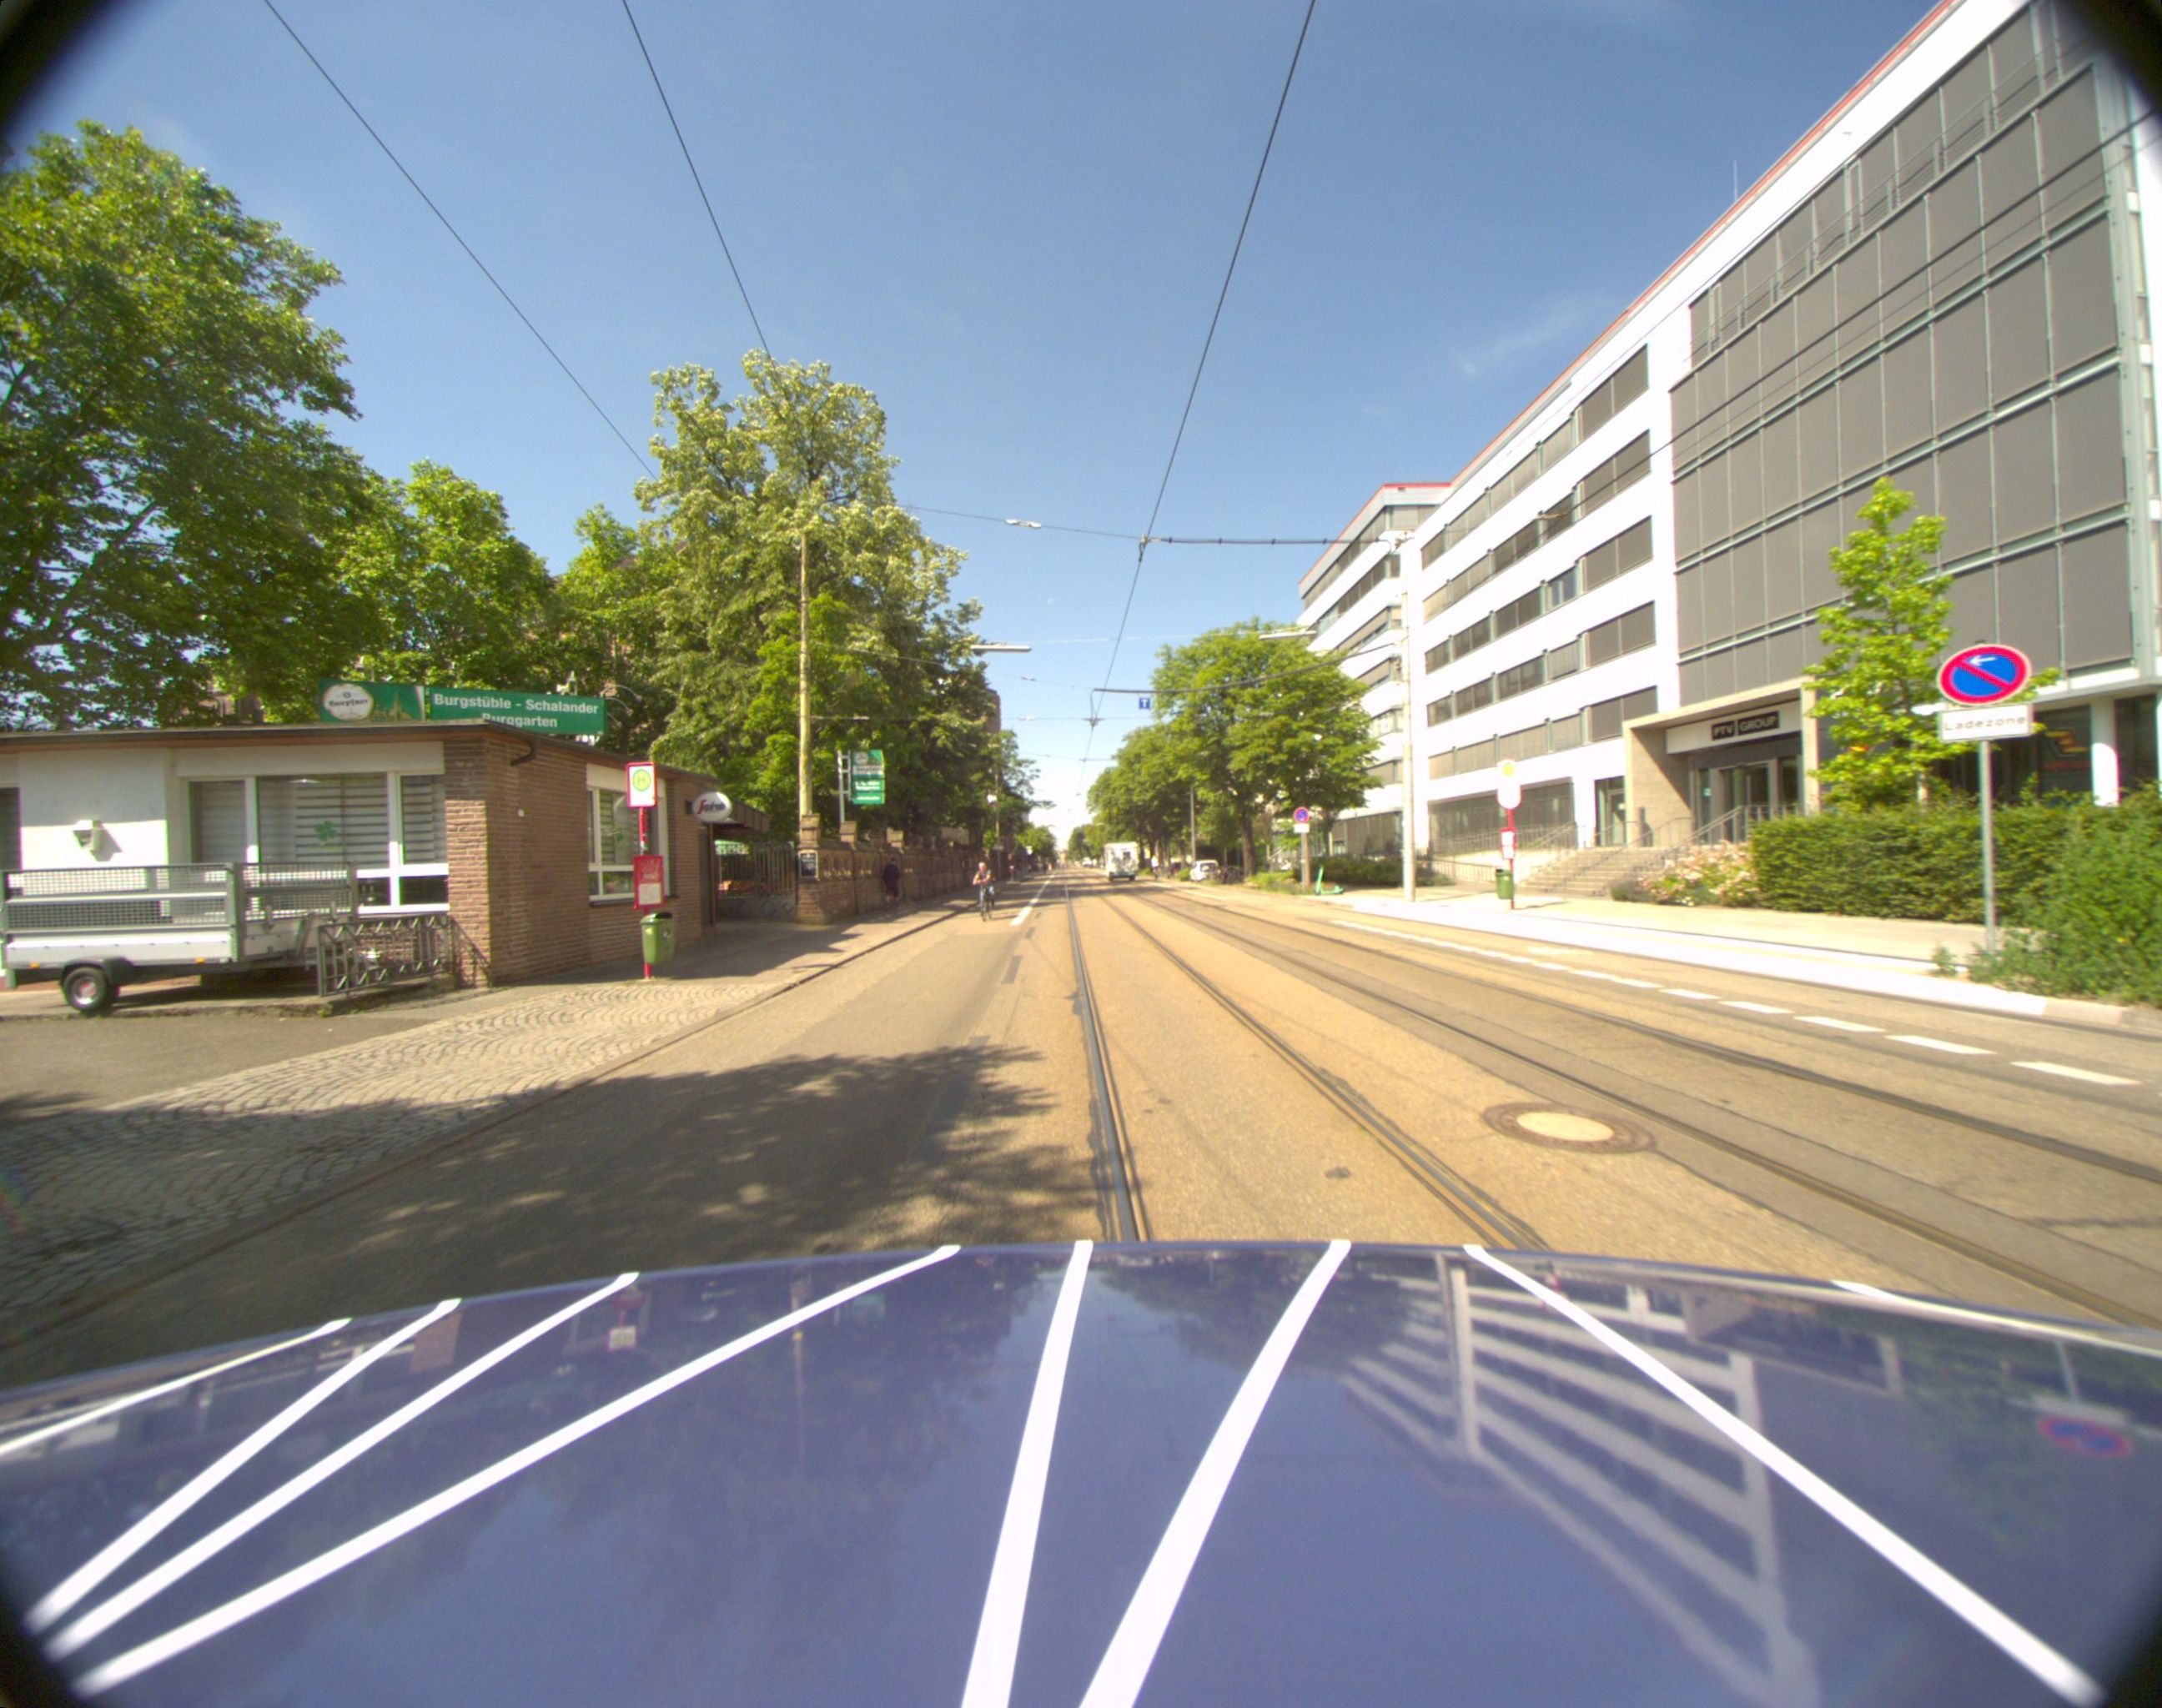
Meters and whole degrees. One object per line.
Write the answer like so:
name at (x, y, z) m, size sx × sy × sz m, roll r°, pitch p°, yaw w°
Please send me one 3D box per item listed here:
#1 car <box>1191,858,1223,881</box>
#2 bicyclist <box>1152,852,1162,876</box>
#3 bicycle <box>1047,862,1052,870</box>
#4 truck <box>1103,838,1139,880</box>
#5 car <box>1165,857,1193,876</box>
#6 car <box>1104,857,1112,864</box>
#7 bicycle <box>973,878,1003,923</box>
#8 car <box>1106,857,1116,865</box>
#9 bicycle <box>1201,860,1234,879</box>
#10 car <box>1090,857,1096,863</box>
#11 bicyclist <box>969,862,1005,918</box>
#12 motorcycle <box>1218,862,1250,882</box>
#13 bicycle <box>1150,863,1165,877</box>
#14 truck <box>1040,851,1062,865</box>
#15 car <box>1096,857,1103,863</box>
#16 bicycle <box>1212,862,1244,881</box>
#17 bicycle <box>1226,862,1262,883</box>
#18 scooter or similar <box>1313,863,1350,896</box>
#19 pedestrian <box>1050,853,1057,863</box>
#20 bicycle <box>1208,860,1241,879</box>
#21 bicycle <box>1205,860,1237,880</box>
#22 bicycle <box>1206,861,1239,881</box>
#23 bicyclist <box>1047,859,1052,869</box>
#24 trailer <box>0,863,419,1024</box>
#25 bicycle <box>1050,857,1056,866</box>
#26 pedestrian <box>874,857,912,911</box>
car at (8.632, 1.046, 52.336) m, size 1.634 × 1.463 × 3.630 m, roll -2°, pitch 0°, yaw 0°
bicyclist at (6.125, 0.779, 61.015) m, size 0.637 × 1.860 × 1.024 m, roll -2°, pitch 0°, yaw -1°
bicycle at (-5.009, 1.892, 120.520) m, size 0.593 × 1.099 × 2.054 m, roll -2°, pitch 0°, yaw 0°
truck at (3.143, 0.400, 60.712) m, size 2.409 × 3.090 × 6.036 m, roll -2°, pitch 0°, yaw -1°
car at (8.291, 1.042, 64.558) m, size 1.634 × 1.474 × 4.272 m, roll -2°, pitch 0°, yaw -3°
car at (5.845, 1.367, 165.488) m, size 1.634 × 1.463 × 4.113 m, roll -2°, pitch 0°, yaw 0°
bicycle at (-2.758, 1.355, 22.685) m, size 0.611 × 1.190 × 2.123 m, roll -5°, pitch 0°, yaw -2°
car at (6.011, 1.342, 152.945) m, size 1.634 × 1.463 × 4.113 m, roll -2°, pitch 0°, yaw 0°
bicycle at (8.631, 0.980, 48.140) m, size 1.909 × 1.162 × 0.819 m, roll -2°, pitch 0°, yaw -1°
car at (3.687, 1.906, 240.002) m, size 1.634 × 1.560 × 4.113 m, roll -2°, pitch 0°, yaw 0°
bicyclist at (-2.751, 1.038, 22.406) m, size 0.906 × 1.586 × 0.964 m, roll -2°, pitch 0°, yaw -1°
motorcycle at (8.853, 1.013, 44.003) m, size 1.729 × 1.080 × 0.658 m, roll -2°, pitch 0°, yaw -1°
bicycle at (6.146, 1.255, 61.157) m, size 0.858 × 1.103 × 2.139 m, roll -2°, pitch 0°, yaw -1°
truck at (-9.058, 1.173, 232.471) m, size 2.816 × 3.836 × 10.015 m, roll -2°, pitch 0°, yaw 21°
car at (4.747, 1.485, 198.106) m, size 1.634 × 1.463 × 4.113 m, roll -2°, pitch 0°, yaw 0°
bicycle at (8.774, 1.032, 45.402) m, size 1.729 × 1.080 × 0.639 m, roll -2°, pitch 0°, yaw -1°
bicycle at (8.957, 1.016, 41.793) m, size 1.729 × 1.080 × 0.789 m, roll -2°, pitch 0°, yaw -1°
scooter or similar at (9.392, 0.943, 28.545) m, size 1.128 × 1.159 × 0.676 m, roll -2°, pitch 0°, yaw 2°
pedestrian at (-5.456, 0.804, 151.486) m, size 1.106 × 2.002 × 1.166 m, roll -4°, pitch 0°, yaw -1°
bicycle at (8.721, 0.966, 46.287) m, size 1.797 × 1.080 × 0.726 m, roll -2°, pitch 0°, yaw -1°
bicycle at (8.747, 0.993, 47.495) m, size 1.877 × 1.135 × 0.686 m, roll -2°, pitch 0°, yaw -1°
bicycle at (8.716, 1.039, 46.816) m, size 1.854 × 1.125 × 0.680 m, roll -2°, pitch 0°, yaw -1°
bicyclist at (-5.037, 1.597, 120.465) m, size 0.742 × 1.522 × 0.947 m, roll -1°, pitch 0°, yaw 0°
trailer at (-10.044, 0.945, 8.762) m, size 3.282 × 1.594 × 1.723 m, roll -2°, pitch 0°, yaw 1°
bicycle at (-5.534, 1.444, 151.394) m, size 0.999 × 1.733 × 3.163 m, roll -4°, pitch 0°, yaw -1°
pedestrian at (-6.522, 1.035, 26.401) m, size 0.979 × 1.805 × 1.185 m, roll 2°, pitch 0°, yaw 0°
